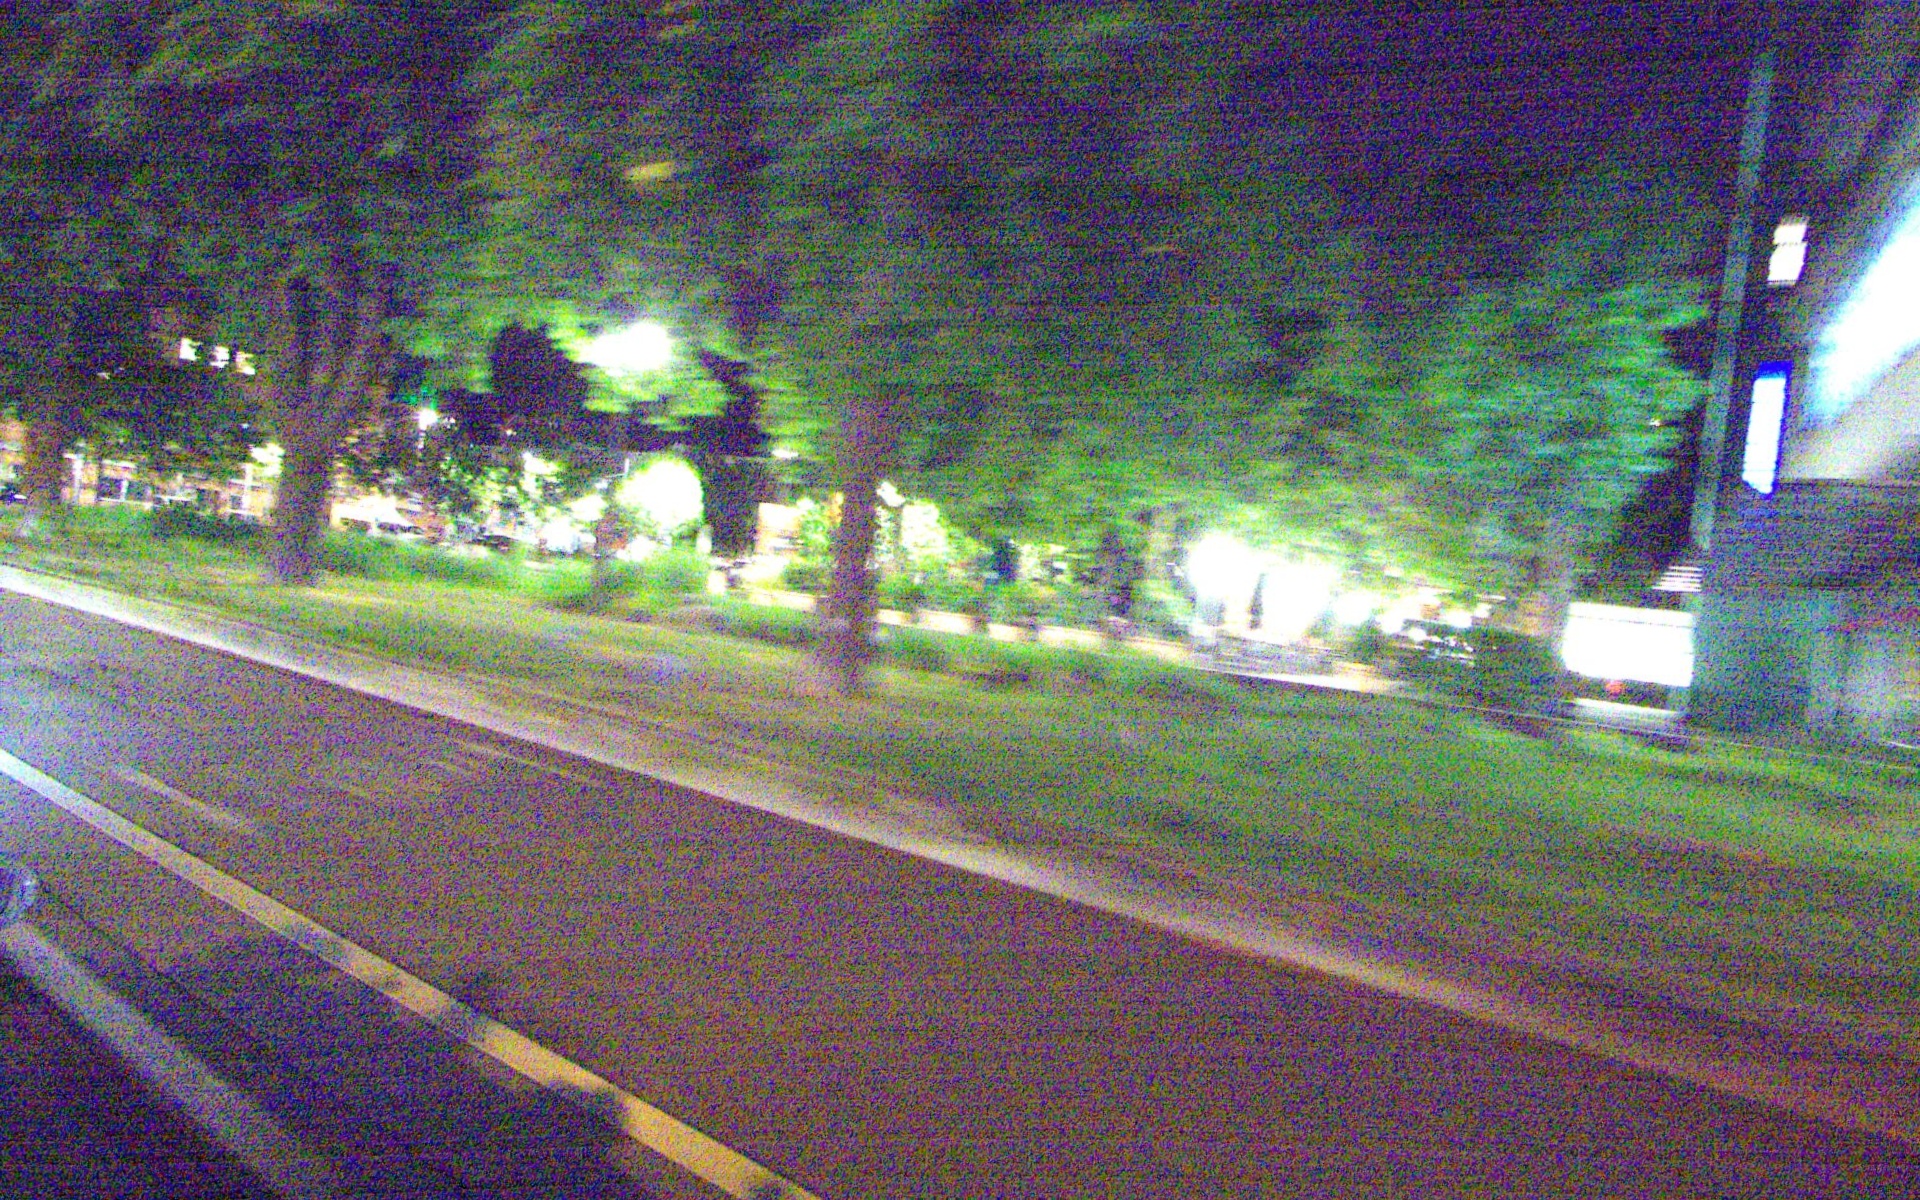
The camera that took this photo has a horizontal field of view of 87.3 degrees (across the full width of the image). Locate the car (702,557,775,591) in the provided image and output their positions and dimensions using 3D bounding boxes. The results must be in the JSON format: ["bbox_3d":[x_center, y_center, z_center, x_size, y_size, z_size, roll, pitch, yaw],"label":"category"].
[{"bbox_3d":[-15.007,-1.736,68.400,2.046,1.788,4.539,7,1,33],"label":"car"}]

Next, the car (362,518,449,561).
[{"bbox_3d":[-26.171,-2.848,47.485,4.030,1.553,1.770,7,1,32],"label":"car"}]

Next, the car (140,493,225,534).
[{"bbox_3d":[-38.662,-4.303,50.043,3.930,1.553,1.785,7,1,27],"label":"car"}]

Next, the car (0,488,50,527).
[{"bbox_3d":[-42.161,-4.187,44.541,4.407,1.413,1.514,7,1,31],"label":"car"}]

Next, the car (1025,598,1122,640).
[{"bbox_3d":[5.639,0.925,50.134,4.229,1.527,1.995,7,1,32],"label":"car"}]

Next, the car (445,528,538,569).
[{"bbox_3d":[-24.129,-2.671,51.781,4.809,1.532,1.891,7,1,31],"label":"car"}]
